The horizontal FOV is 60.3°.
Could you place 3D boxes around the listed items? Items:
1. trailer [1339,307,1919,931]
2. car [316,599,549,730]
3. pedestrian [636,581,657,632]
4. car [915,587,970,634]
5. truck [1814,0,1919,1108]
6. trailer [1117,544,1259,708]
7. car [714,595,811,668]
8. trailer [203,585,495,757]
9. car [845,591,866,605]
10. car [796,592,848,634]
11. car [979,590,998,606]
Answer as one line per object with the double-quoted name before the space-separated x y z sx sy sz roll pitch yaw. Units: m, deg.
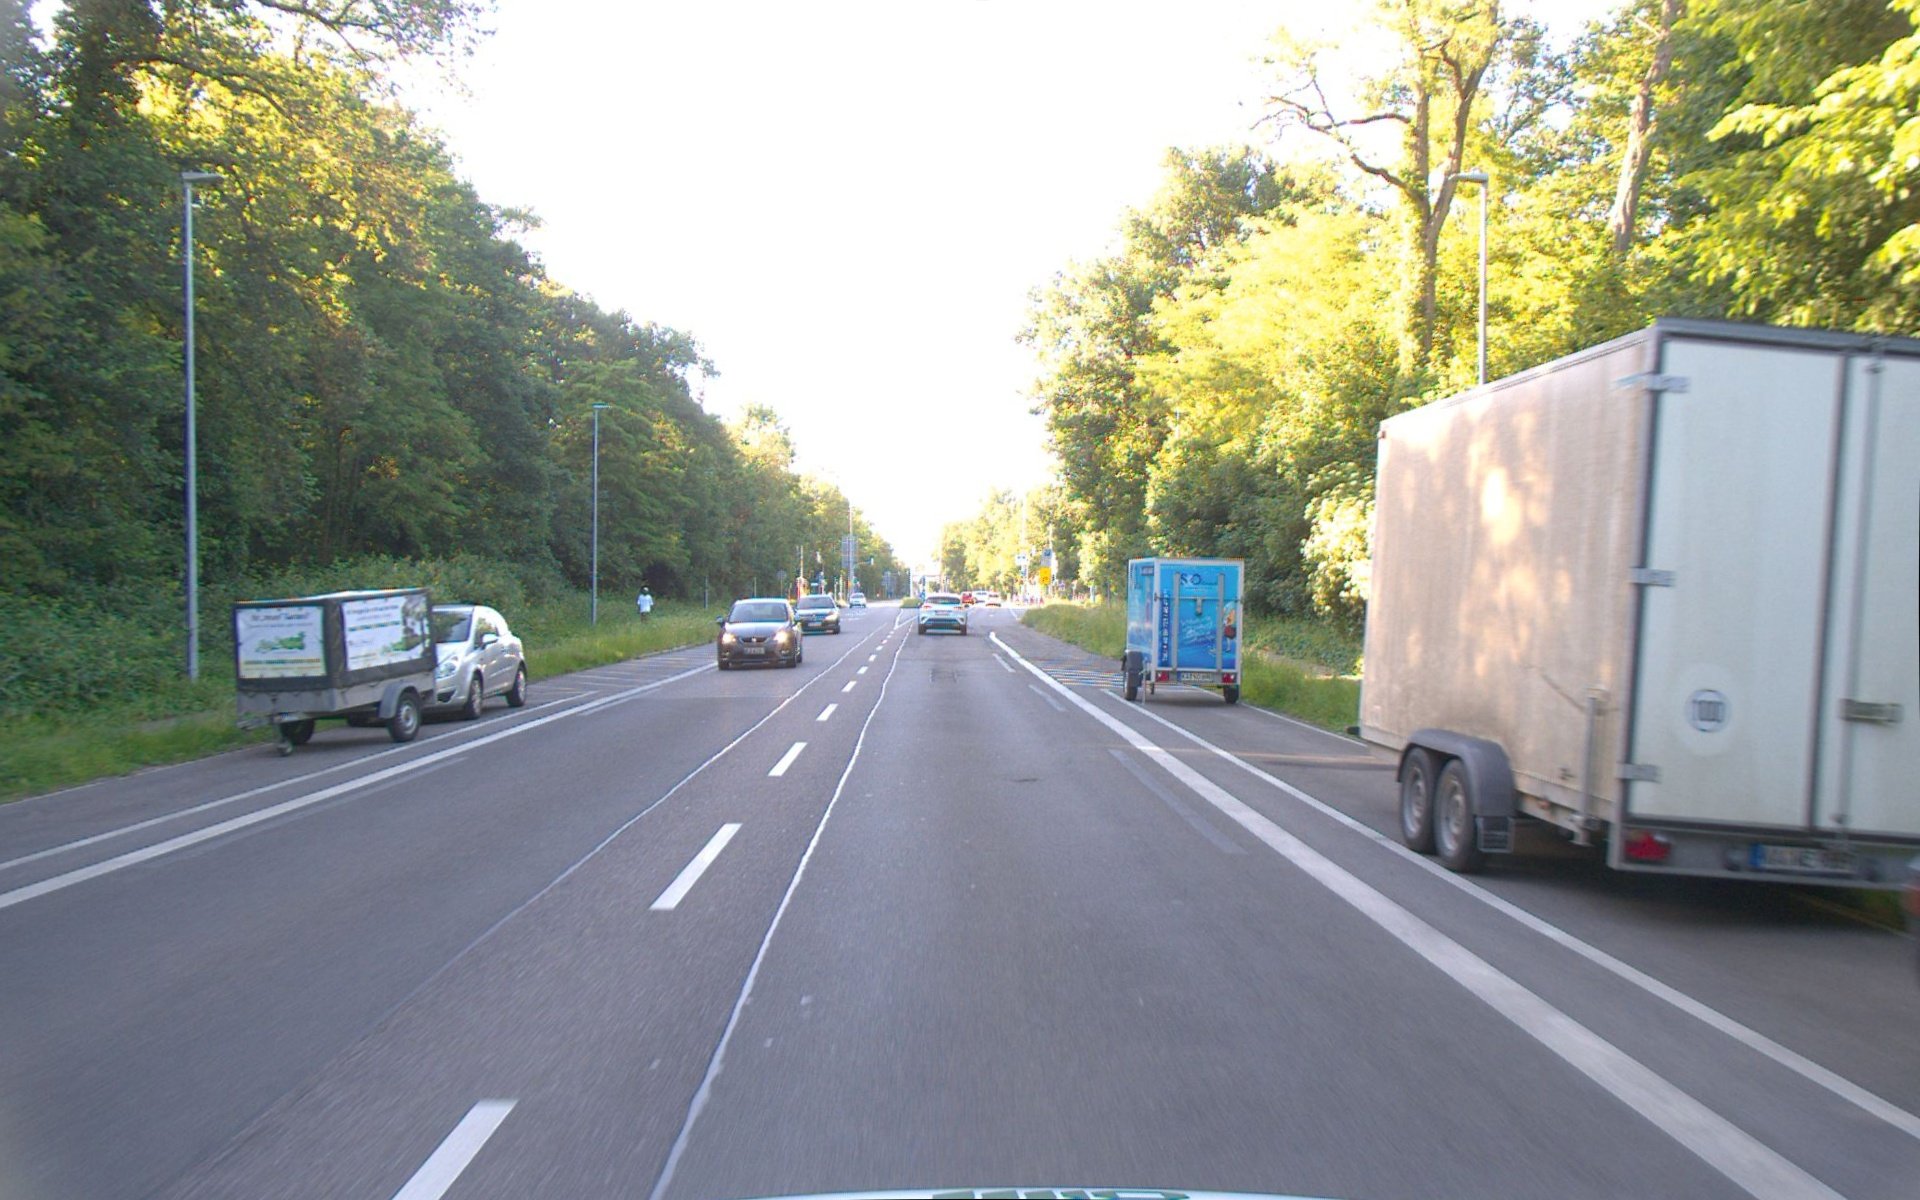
"trailer" 4.108 0.083 10.348 2.226 2.894 5.206 1 0 0
"car" -7.093 0.807 22.704 1.830 1.489 4.132 -3 0 -1
"pedestrian" -12.628 0.268 66.667 0.679 2.049 0.712 1 0 0
"car" -0.673 0.379 61.640 1.953 1.668 3.999 -1 0 -1
"truck" 4.156 -0.173 2.041 2.454 3.425 7.106 1 0 -1
"trailer" 3.416 0.350 25.454 1.469 2.274 4.549 1 0 -1
"car" -4.202 0.636 35.760 1.644 1.440 3.999 -1 0 -1
"trailer" -6.644 0.721 18.348 1.439 1.688 3.368 -2 0 11
"car" -10.983 -0.191 174.254 1.953 1.489 3.999 1 0 -1
"car" -5.289 0.462 63.805 1.644 1.516 4.689 -1 0 -1
"car" 3.173 -0.208 182.645 1.953 1.646 4.000 1 0 0
